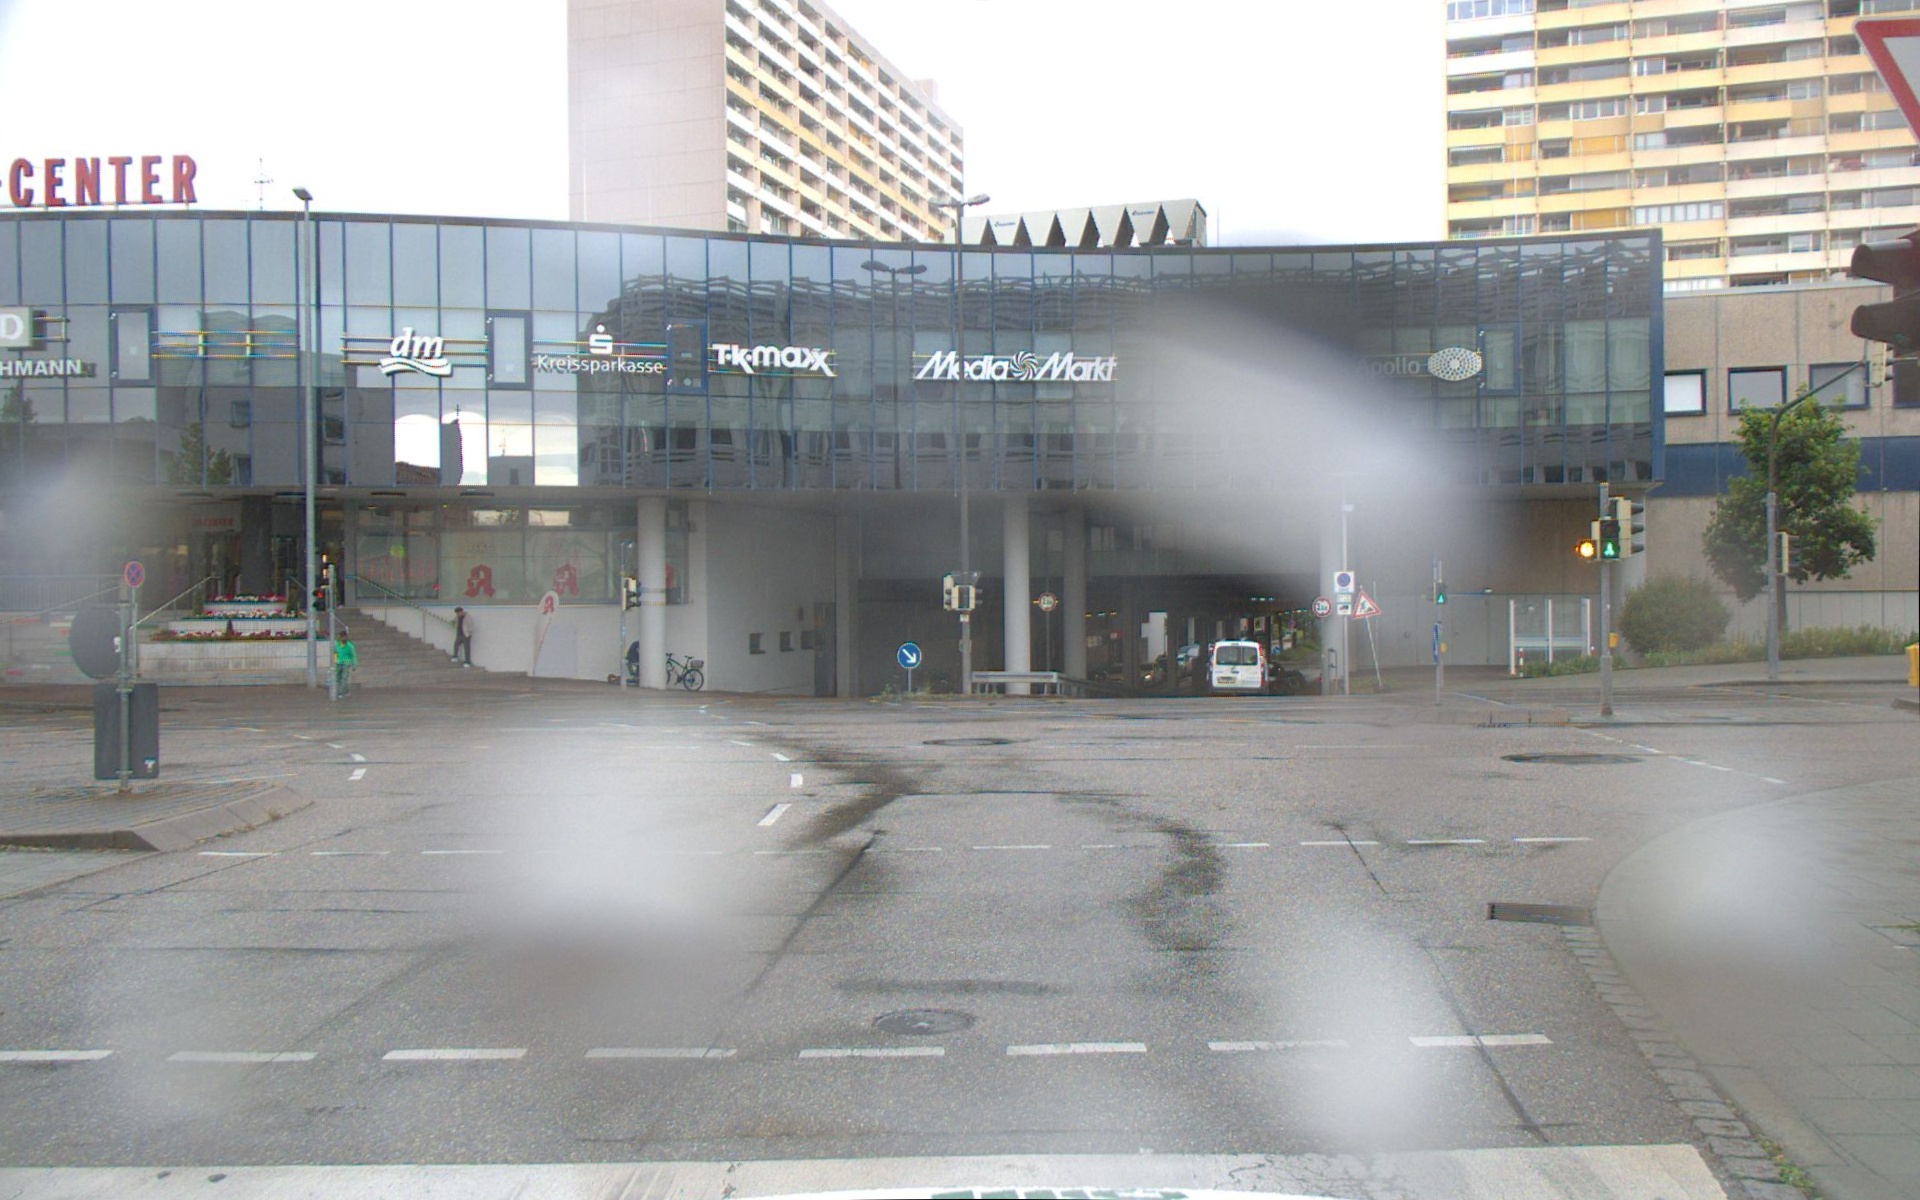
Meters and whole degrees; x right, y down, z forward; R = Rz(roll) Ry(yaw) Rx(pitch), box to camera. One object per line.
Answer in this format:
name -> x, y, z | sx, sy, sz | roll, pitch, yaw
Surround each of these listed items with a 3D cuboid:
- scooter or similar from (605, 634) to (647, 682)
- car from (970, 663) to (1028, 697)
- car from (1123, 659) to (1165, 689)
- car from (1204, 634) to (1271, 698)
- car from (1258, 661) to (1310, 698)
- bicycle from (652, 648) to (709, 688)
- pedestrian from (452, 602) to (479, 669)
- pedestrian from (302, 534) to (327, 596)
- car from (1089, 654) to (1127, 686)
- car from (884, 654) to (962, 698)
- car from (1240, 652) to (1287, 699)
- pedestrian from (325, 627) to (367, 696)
scooter or similar -> -9.908, 1.716, 49.054 | 1.147, 1.397, 0.487 | 1, -1, -15
car -> 1.801, 3.651, 75.296 | 1.733, 1.490, 3.878 | -1, -3, 15
car -> 11.449, 4.557, 102.770 | 1.951, 1.693, 4.002 | 1, -1, 15
car -> 8.350, 1.963, 49.548 | 1.884, 1.829, 4.299 | -1, -2, 11
car -> 13.176, 3.248, 67.109 | 1.741, 1.425, 4.002 | -1, -4, 15
bicycle -> -8.368, 2.041, 49.580 | 1.565, 1.035, 0.447 | 7, -3, -31
pedestrian -> -14.358, 1.037, 48.073 | 0.643, 1.942, 0.594 | 1, -1, -8
pedestrian -> -19.421, -1.053, 49.773 | 0.622, 1.839, 0.502 | 1, -1, -17
car -> 8.721, 4.071, 96.978 | 1.797, 1.758, 4.003 | 0, -1, 11
car -> -1.388, 2.942, 63.451 | 1.852, 1.495, 4.028 | -1, -5, 16
car -> 11.369, 2.858, 61.852 | 1.598, 1.640, 4.265 | -2, -4, 11
pedestrian -> -15.120, 1.497, 40.739 | 0.935, 1.652, 0.804 | -1, -1, -19
